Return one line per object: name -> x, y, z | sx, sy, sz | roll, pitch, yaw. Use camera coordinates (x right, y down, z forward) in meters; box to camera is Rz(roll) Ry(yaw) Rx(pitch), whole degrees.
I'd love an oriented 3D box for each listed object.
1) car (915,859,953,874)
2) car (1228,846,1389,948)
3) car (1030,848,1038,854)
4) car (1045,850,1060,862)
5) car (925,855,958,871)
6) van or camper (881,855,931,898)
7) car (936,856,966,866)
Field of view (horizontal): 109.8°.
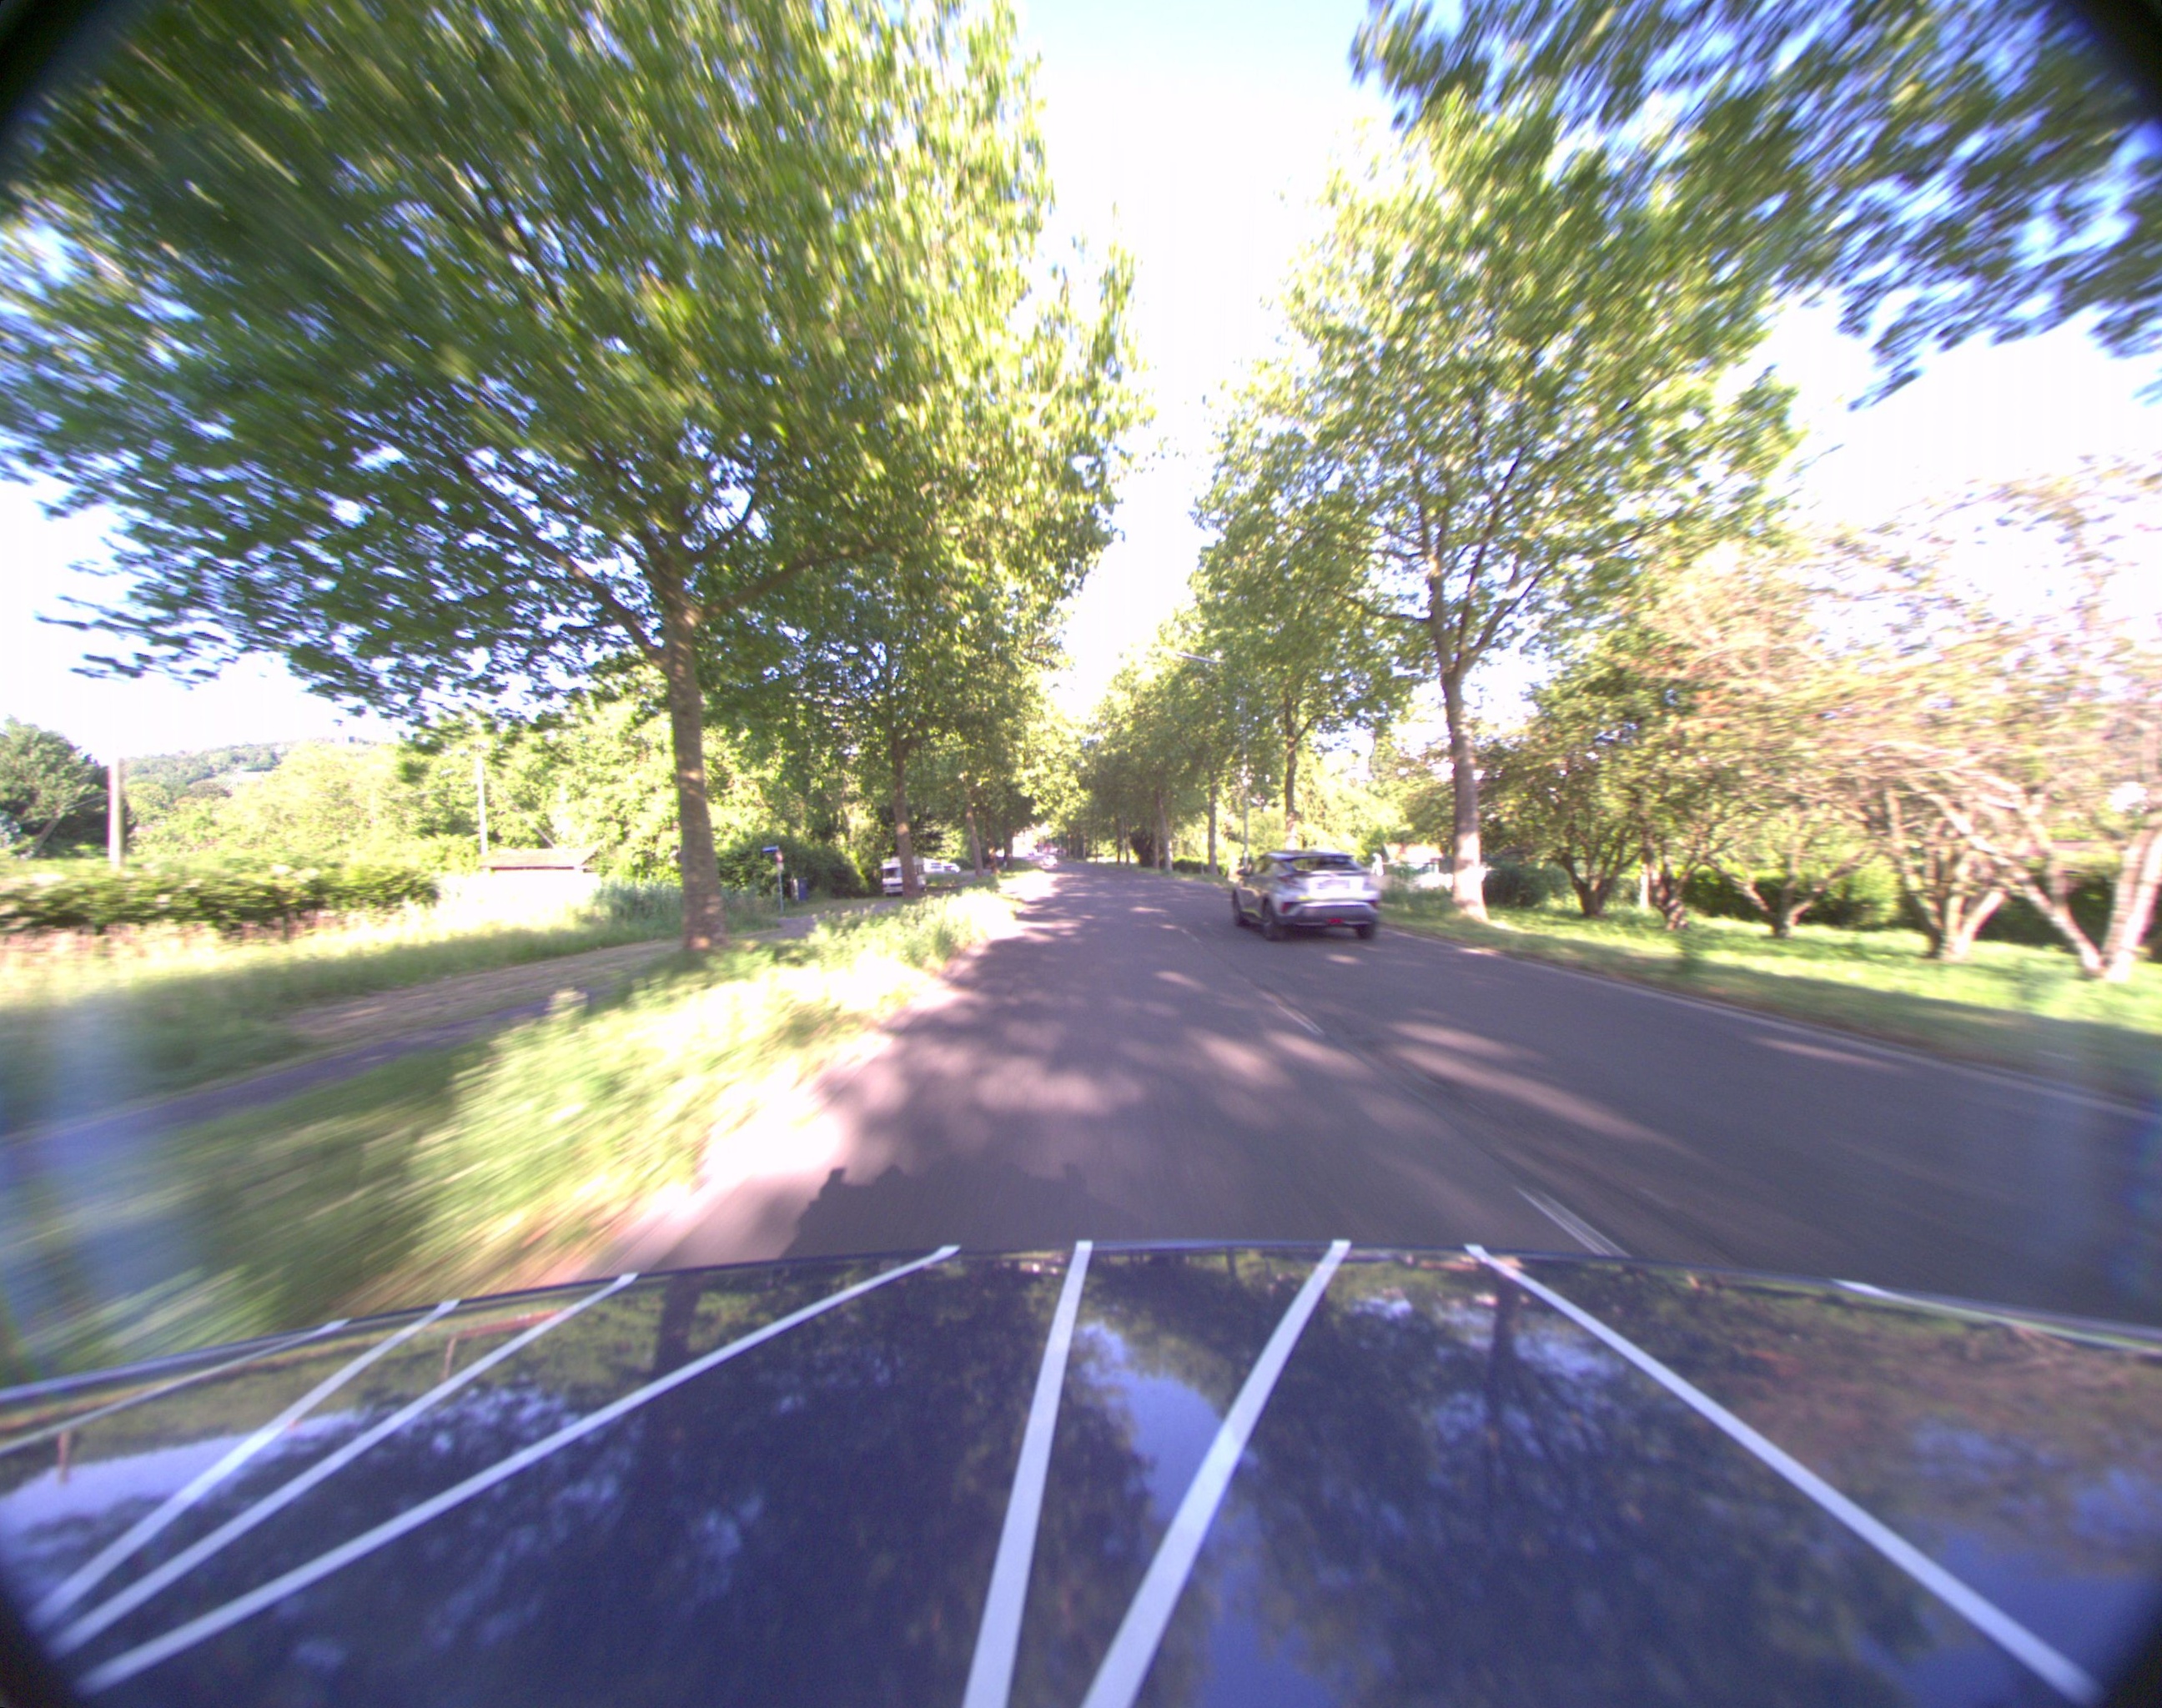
car -> -19.397, 1.646, 100.484 | 4.510, 1.660, 2.000 | -2, 1, 4
car -> 3.925, 0.646, 13.792 | 1.720, 1.496, 3.999 | -2, 1, 0
car -> -12.734, -0.841, 207.529 | 1.869, 1.421, 3.999 | -2, 0, -1
car -> -4.186, 0.305, 111.513 | 1.999, 1.656, 3.998 | -2, 1, -2
car -> -19.532, 1.209, 106.421 | 3.995, 2.002, 2.000 | -2, 1, 4
van or camper -> -12.603, 1.545, 55.220 | 2.387, 2.784, 5.683 | -2, 1, -2
car -> -19.216, 1.037, 112.503 | 3.995, 1.378, 2.000 | -2, 1, 4
